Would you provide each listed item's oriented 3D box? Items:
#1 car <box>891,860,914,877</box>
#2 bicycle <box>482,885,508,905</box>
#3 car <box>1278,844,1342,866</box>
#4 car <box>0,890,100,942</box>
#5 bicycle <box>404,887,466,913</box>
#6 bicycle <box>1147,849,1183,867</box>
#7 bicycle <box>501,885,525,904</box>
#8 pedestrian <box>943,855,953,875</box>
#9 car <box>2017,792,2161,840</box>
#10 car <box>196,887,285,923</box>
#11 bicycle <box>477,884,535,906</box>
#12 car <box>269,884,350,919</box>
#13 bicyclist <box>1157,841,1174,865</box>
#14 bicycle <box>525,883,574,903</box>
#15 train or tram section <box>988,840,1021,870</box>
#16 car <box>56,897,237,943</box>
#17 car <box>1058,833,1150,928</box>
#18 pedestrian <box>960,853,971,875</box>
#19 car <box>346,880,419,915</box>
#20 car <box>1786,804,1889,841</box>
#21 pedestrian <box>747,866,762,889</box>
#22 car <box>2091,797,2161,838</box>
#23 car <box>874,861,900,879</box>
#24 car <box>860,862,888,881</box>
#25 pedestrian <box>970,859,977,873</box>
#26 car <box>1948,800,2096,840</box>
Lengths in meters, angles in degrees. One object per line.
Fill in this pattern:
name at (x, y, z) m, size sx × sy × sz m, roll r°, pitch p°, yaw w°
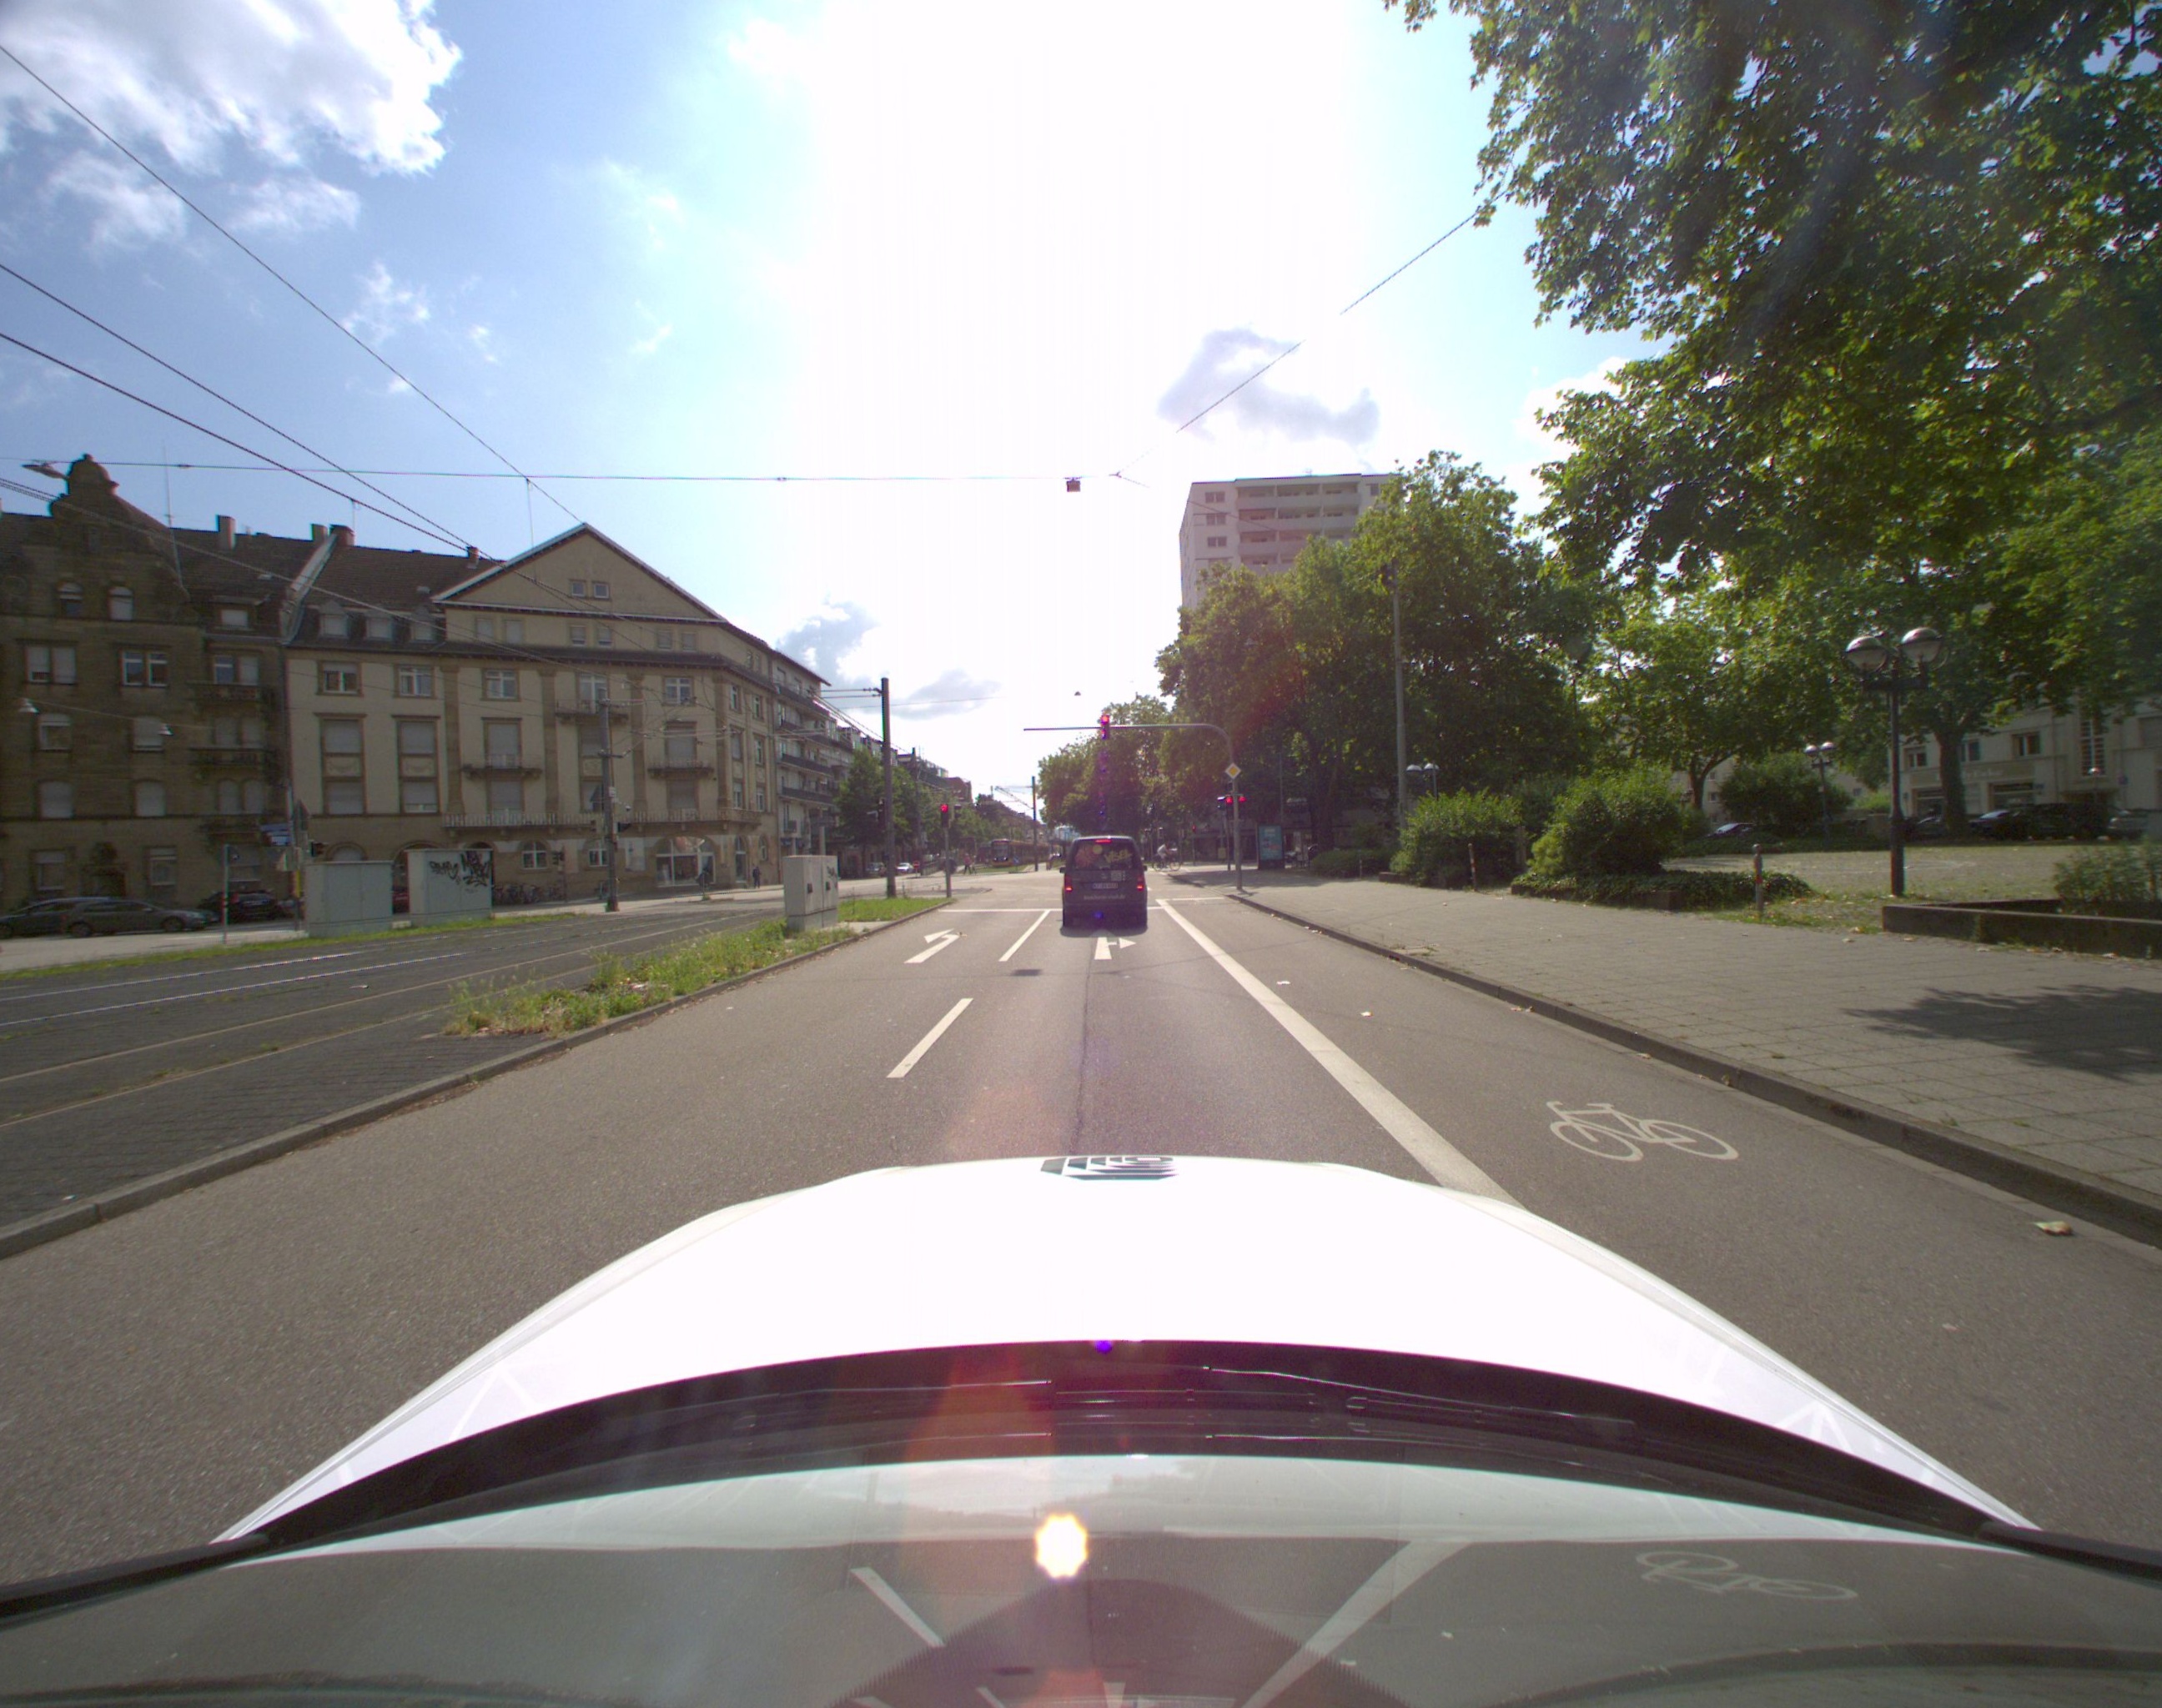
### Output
car at (-23.461, 1.867, 107.193) m, size 1.986 × 2.013 × 4.002 m, roll -3°, pitch 0°, yaw 2°
bicycle at (-34.317, 2.393, 47.706) m, size 0.808 × 1.053 × 2.543 m, roll -3°, pitch 0°, yaw -28°
car at (17.192, 0.099, 61.057) m, size 4.499 × 1.390 × 1.694 m, roll -3°, pitch 0°, yaw -23°
car at (-47.302, 2.797, 35.828) m, size 4.813 × 2.013 × 1.984 m, roll -3°, pitch 0°, yaw -24°
bicycle at (-36.275, 2.577, 45.711) m, size 3.283 × 1.253 × 1.003 m, roll -3°, pitch 0°, yaw 17°
bicycle at (5.491, 0.263, 53.253) m, size 2.292 × 1.048 × 0.897 m, roll -3°, pitch 0°, yaw 2°
bicycle at (-33.551, 2.372, 48.104) m, size 0.808 × 1.053 × 2.543 m, roll -3°, pitch 0°, yaw -28°
pedestrian at (-11.426, 0.946, 70.133) m, size 0.657 × 1.685 × 0.656 m, roll -3°, pitch 0°, yaw 1°
car at (47.490, -1.771, 38.084) m, size 4.661 × 1.929 × 2.193 m, roll -3°, pitch 0°, yaw 3°
car at (-43.584, 2.647, 42.243) m, size 3.950 × 1.673 × 2.012 m, roll -3°, pitch 0°, yaw 26°
bicycle at (-32.843, 2.353, 46.539) m, size 2.571 × 1.053 × 0.676 m, roll -3°, pitch 0°, yaw -27°
car at (-41.346, 2.541, 43.642) m, size 3.950 × 1.639 × 1.813 m, roll -3°, pitch 0°, yaw 26°
bicyclist at (5.534, -0.037, 53.291) m, size 0.993 × 1.511 × 0.781 m, roll -3°, pitch 0°, yaw 2°
bicycle at (-31.844, 2.317, 48.843) m, size 0.797 × 1.053 × 2.576 m, roll -3°, pitch 0°, yaw 14°
train or tram section at (-9.257, 0.061, 99.447) m, size 2.232 × 3.331 × 12.977 m, roll -3°, pitch 0°, yaw 2°
car at (-38.450, 2.679, 33.662) m, size 4.574 × 1.436 × 1.694 m, roll -3°, pitch 0°, yaw -23°
car at (0.505, 0.511, 17.608) m, size 1.744 × 1.808 × 3.476 m, roll -1°, pitch 0°, yaw 2°
pedestrian at (-9.634, 0.802, 67.929) m, size 0.657 × 1.784 × 0.661 m, roll -3°, pitch 0°, yaw 1°
car at (-38.342, 2.387, 44.670) m, size 3.948 × 1.674 × 2.013 m, roll -3°, pitch 0°, yaw 34°
car at (47.011, -1.949, 50.682) m, size 4.397 × 2.013 × 2.079 m, roll -3°, pitch 0°, yaw 2°
pedestrian at (-23.478, 1.665, 58.596) m, size 0.690 × 1.595 × 0.861 m, roll -3°, pitch 0°, yaw -3°
car at (47.991, -1.670, 35.625) m, size 4.661 × 1.706 × 2.193 m, roll -3°, pitch 0°, yaw 3°
car at (-23.520, 1.952, 98.683) m, size 1.986 × 2.013 × 4.002 m, roll -3°, pitch 0°, yaw 2°
car at (-23.914, 1.980, 94.119) m, size 1.986 × 2.013 × 4.002 m, roll -3°, pitch 0°, yaw 2°
pedestrian at (-9.020, 1.015, 68.347) m, size 0.462 × 1.144 × 0.435 m, roll -3°, pitch 0°, yaw 1°
car at (47.098, -1.686, 40.858) m, size 4.661 × 1.706 × 2.193 m, roll -3°, pitch 0°, yaw 3°
